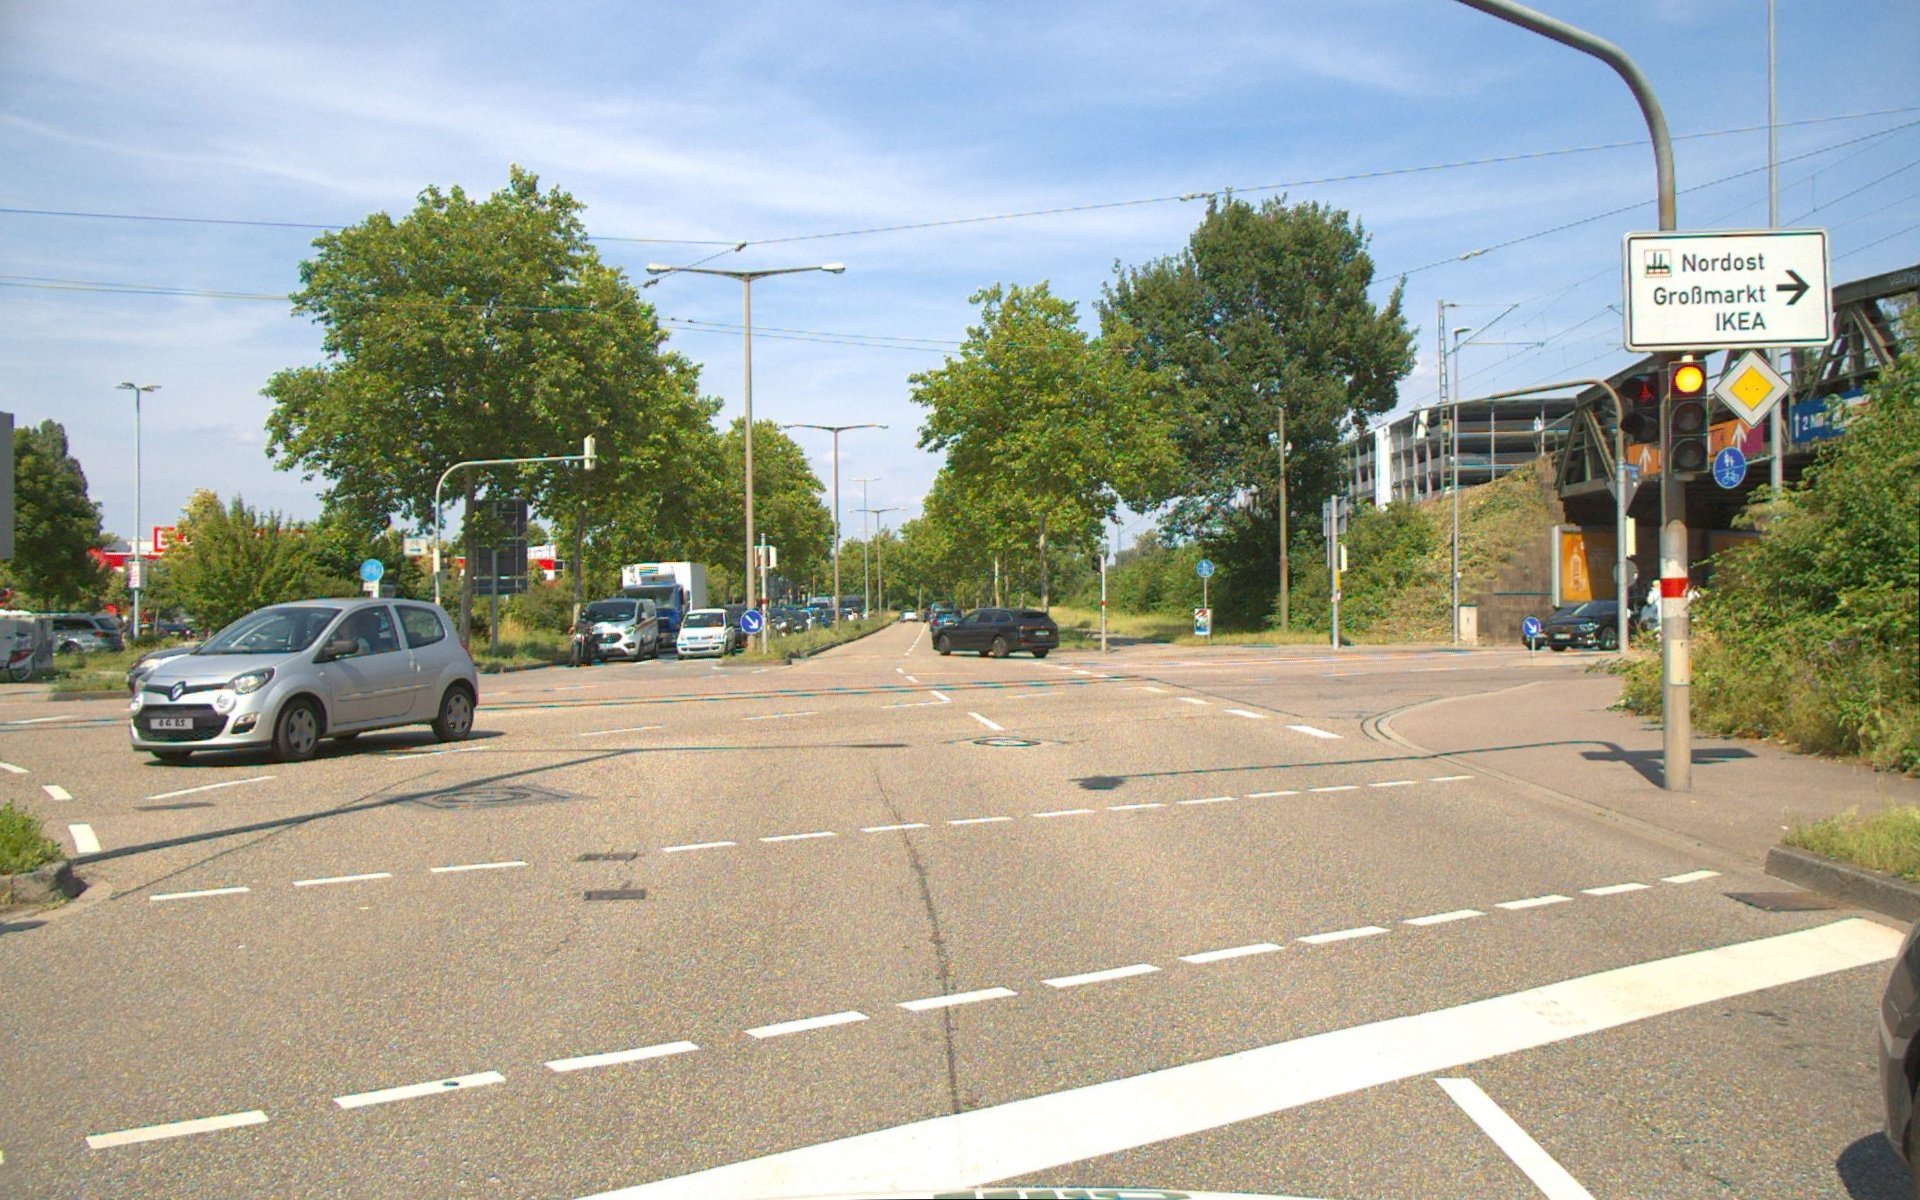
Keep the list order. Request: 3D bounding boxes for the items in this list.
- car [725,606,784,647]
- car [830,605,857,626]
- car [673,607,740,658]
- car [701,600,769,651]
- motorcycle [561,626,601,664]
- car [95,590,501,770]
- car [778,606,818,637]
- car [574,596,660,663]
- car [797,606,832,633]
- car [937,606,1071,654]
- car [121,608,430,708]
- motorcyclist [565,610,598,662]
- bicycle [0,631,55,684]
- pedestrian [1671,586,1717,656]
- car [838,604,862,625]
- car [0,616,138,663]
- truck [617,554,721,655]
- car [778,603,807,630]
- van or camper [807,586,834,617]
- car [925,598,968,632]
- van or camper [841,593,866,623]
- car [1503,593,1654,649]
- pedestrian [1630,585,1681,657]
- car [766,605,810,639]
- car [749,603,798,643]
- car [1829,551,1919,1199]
[{"bbox_3d":[-8.065,1.011,65.234,1.760,1.493,4.522,-2,0,-1],"label":"car"},{"bbox_3d":[-8.783,1.169,125.030,1.747,1.484,4.471,-2,0,-1],"label":"car"},{"bbox_3d":[-7.982,1.005,52.358,1.560,1.503,3.728,-2,0,-1],"label":"car"},{"bbox_3d":[-7.872,0.899,58.300,1.783,1.675,4.692,-2,-1,-1],"label":"car"},{"bbox_3d":[-10.963,1.290,47.956,0.674,1.009,2.217,-1,0,-1],"label":"motorcycle"},{"bbox_3d":[-6.303,0.681,16.197,1.615,1.540,3.737,-1,0,20],"label":"car"},{"bbox_3d":[-8.280,1.087,84.716,1.654,1.497,3.814,-2,0,-1],"label":"car"},{"bbox_3d":[-10.935,0.900,53.055,1.937,2.034,5.028,-1,0,-3],"label":"car"},{"bbox_3d":[-8.545,1.137,97.406,1.749,1.515,4.209,-2,0,-2],"label":"car"},{"bbox_3d":[1.310,0.897,50.878,1.823,1.416,4.202,-1,0,-40],"label":"car"},{"bbox_3d":[-11.061,0.885,26.857,4.410,1.436,1.619,-1,0,-35],"label":"car"},{"bbox_3d":[-10.999,1.041,48.051,0.728,1.496,0.987,-1,0,-1],"label":"motorcyclist"},{"bbox_3d":[-19.941,1.206,34.673,0.581,1.055,1.897,-1,0,13],"label":"bicycle"},{"bbox_3d":[16.996,0.476,38.312,0.714,1.607,0.777,-1,0,-1],"label":"pedestrian"},{"bbox_3d":[-8.773,1.158,131.767,1.654,1.537,3.814,-2,0,-1],"label":"car"},{"bbox_3d":[-29.706,1.278,54.176,4.477,1.439,2.197,-1,0,-8],"label":"car"},{"bbox_3d":[-11.045,0.155,63.378,2.747,3.532,6.690,-3,0,-1],"label":"truck"},{"bbox_3d":[-12.017,1.175,118.691,1.654,1.891,4.035,-2,-1,-1],"label":"car"},{"bbox_3d":[-12.441,0.138,147.671,1.974,2.633,5.516,-2,0,-1],"label":"van or camper"},{"bbox_3d":[-0.630,0.694,77.882,1.953,1.545,3.999,-1,0,-1],"label":"car"},{"bbox_3d":[-9.059,0.727,140.547,1.899,2.410,5.395,-2,-1,-2],"label":"van or camper"},{"bbox_3d":[17.333,0.560,46.313,4.166,1.468,1.771,-1,0,-31],"label":"car"},{"bbox_3d":[16.134,0.485,38.377,0.850,1.640,0.777,-1,0,-1],"label":"pedestrian"},{"bbox_3d":[-8.216,1.037,79.080,1.655,1.499,4.217,-3,0,-1],"label":"car"},{"bbox_3d":[-8.056,0.991,71.809,1.654,1.614,4.239,-2,0,-1],"label":"car"},{"bbox_3d":[3.003,0.640,2.076,1.640,1.479,4.035,1,0,-1],"label":"car"}]
